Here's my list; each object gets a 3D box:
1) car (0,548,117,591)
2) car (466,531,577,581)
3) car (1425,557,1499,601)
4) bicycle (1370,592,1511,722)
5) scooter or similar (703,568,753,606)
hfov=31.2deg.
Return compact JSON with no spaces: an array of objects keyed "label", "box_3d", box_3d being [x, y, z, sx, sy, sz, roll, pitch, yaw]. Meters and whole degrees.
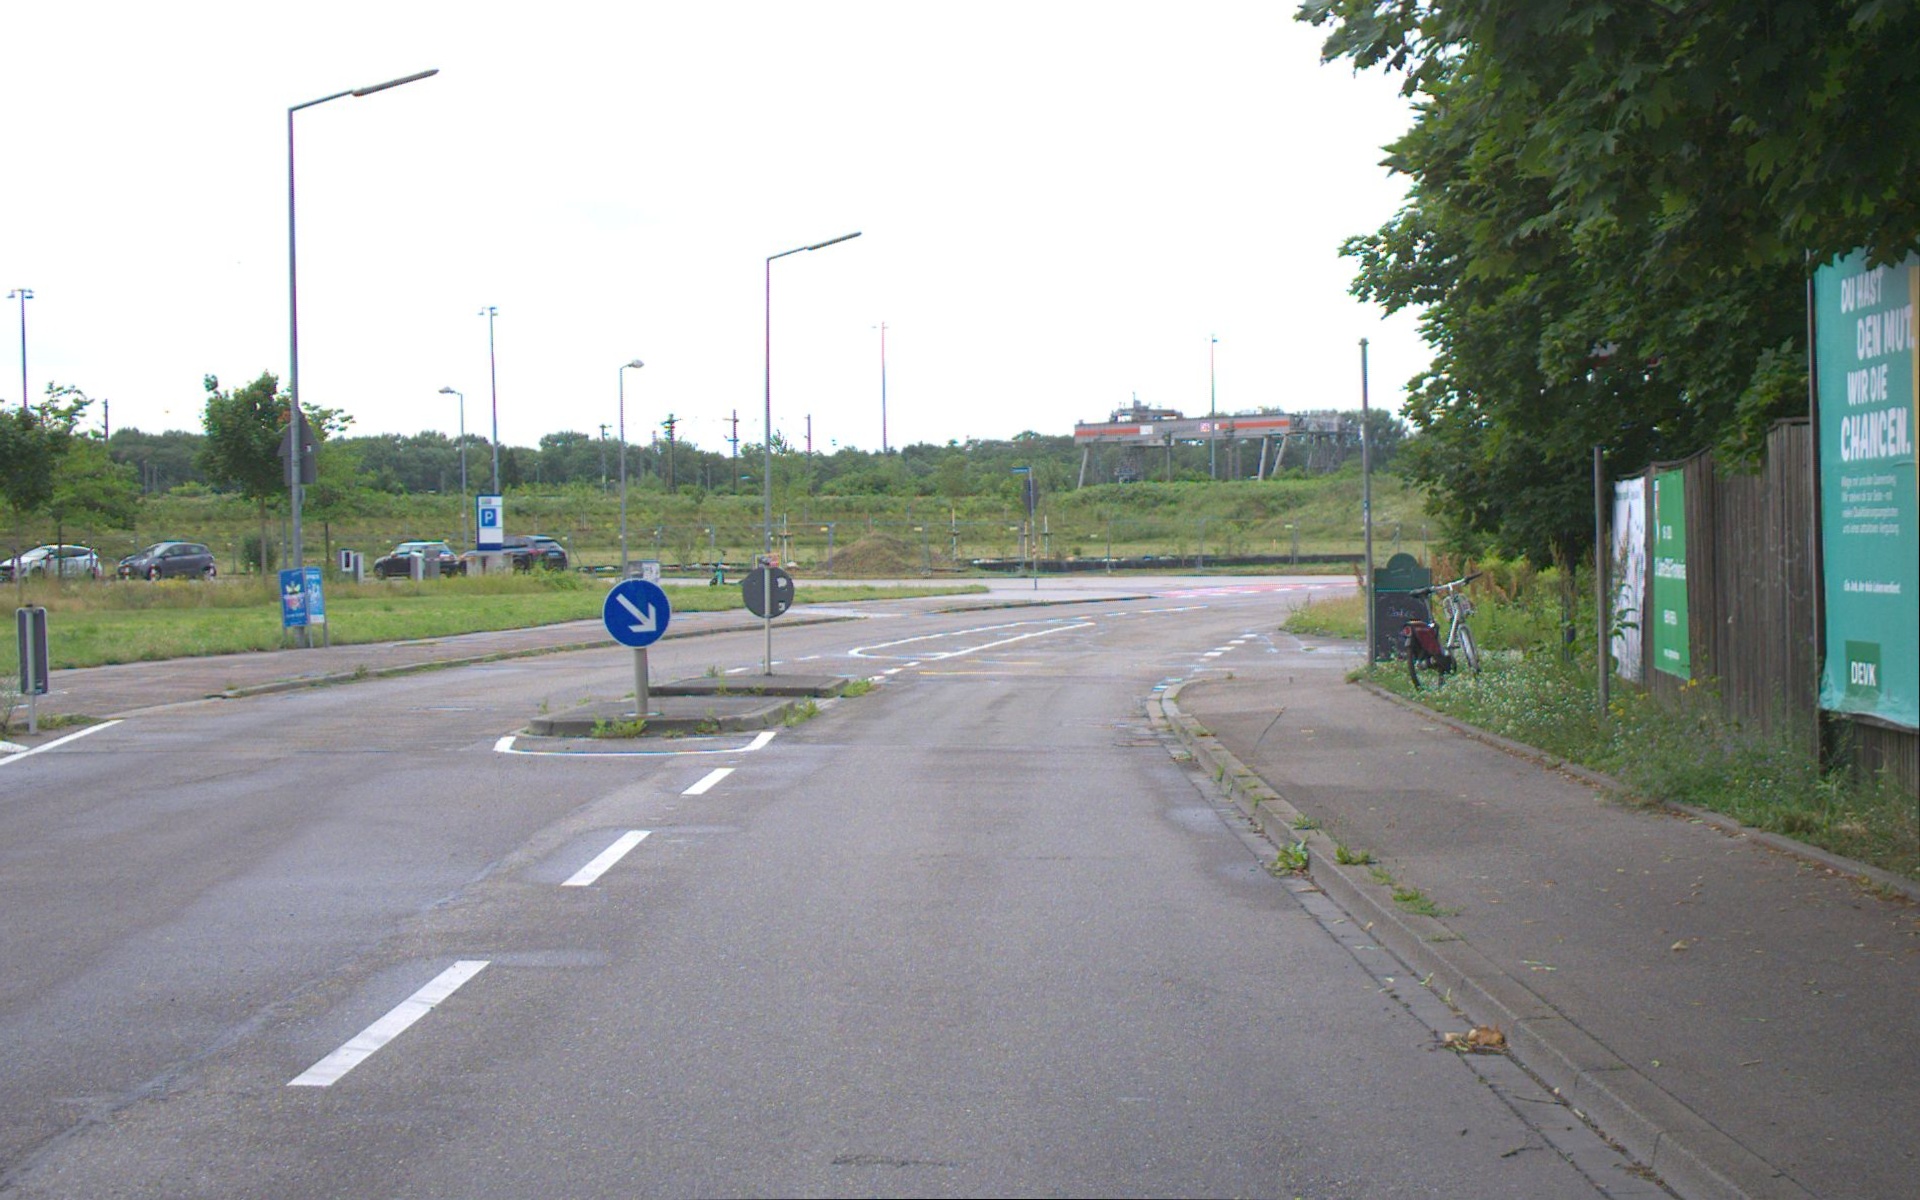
[{"label":"car","box_3d":[-34.492,-1.183,131.432,1.997,1.512,4.146,0,2,33]},{"label":"car","box_3d":[-16.530,-1.667,129.475,3.997,1.816,1.995,0,2,42]},{"label":"car","box_3d":[17.780,-0.751,121.641,1.674,1.456,4.052,2,2,22]},{"label":"bicycle","box_3d":[4.382,0.500,31.234,0.796,1.107,1.950,-1,1,22]},{"label":"scooter or similar","box_3d":[-7.379,-0.416,109.402,1.463,1.164,0.571,0,1,15]}]
